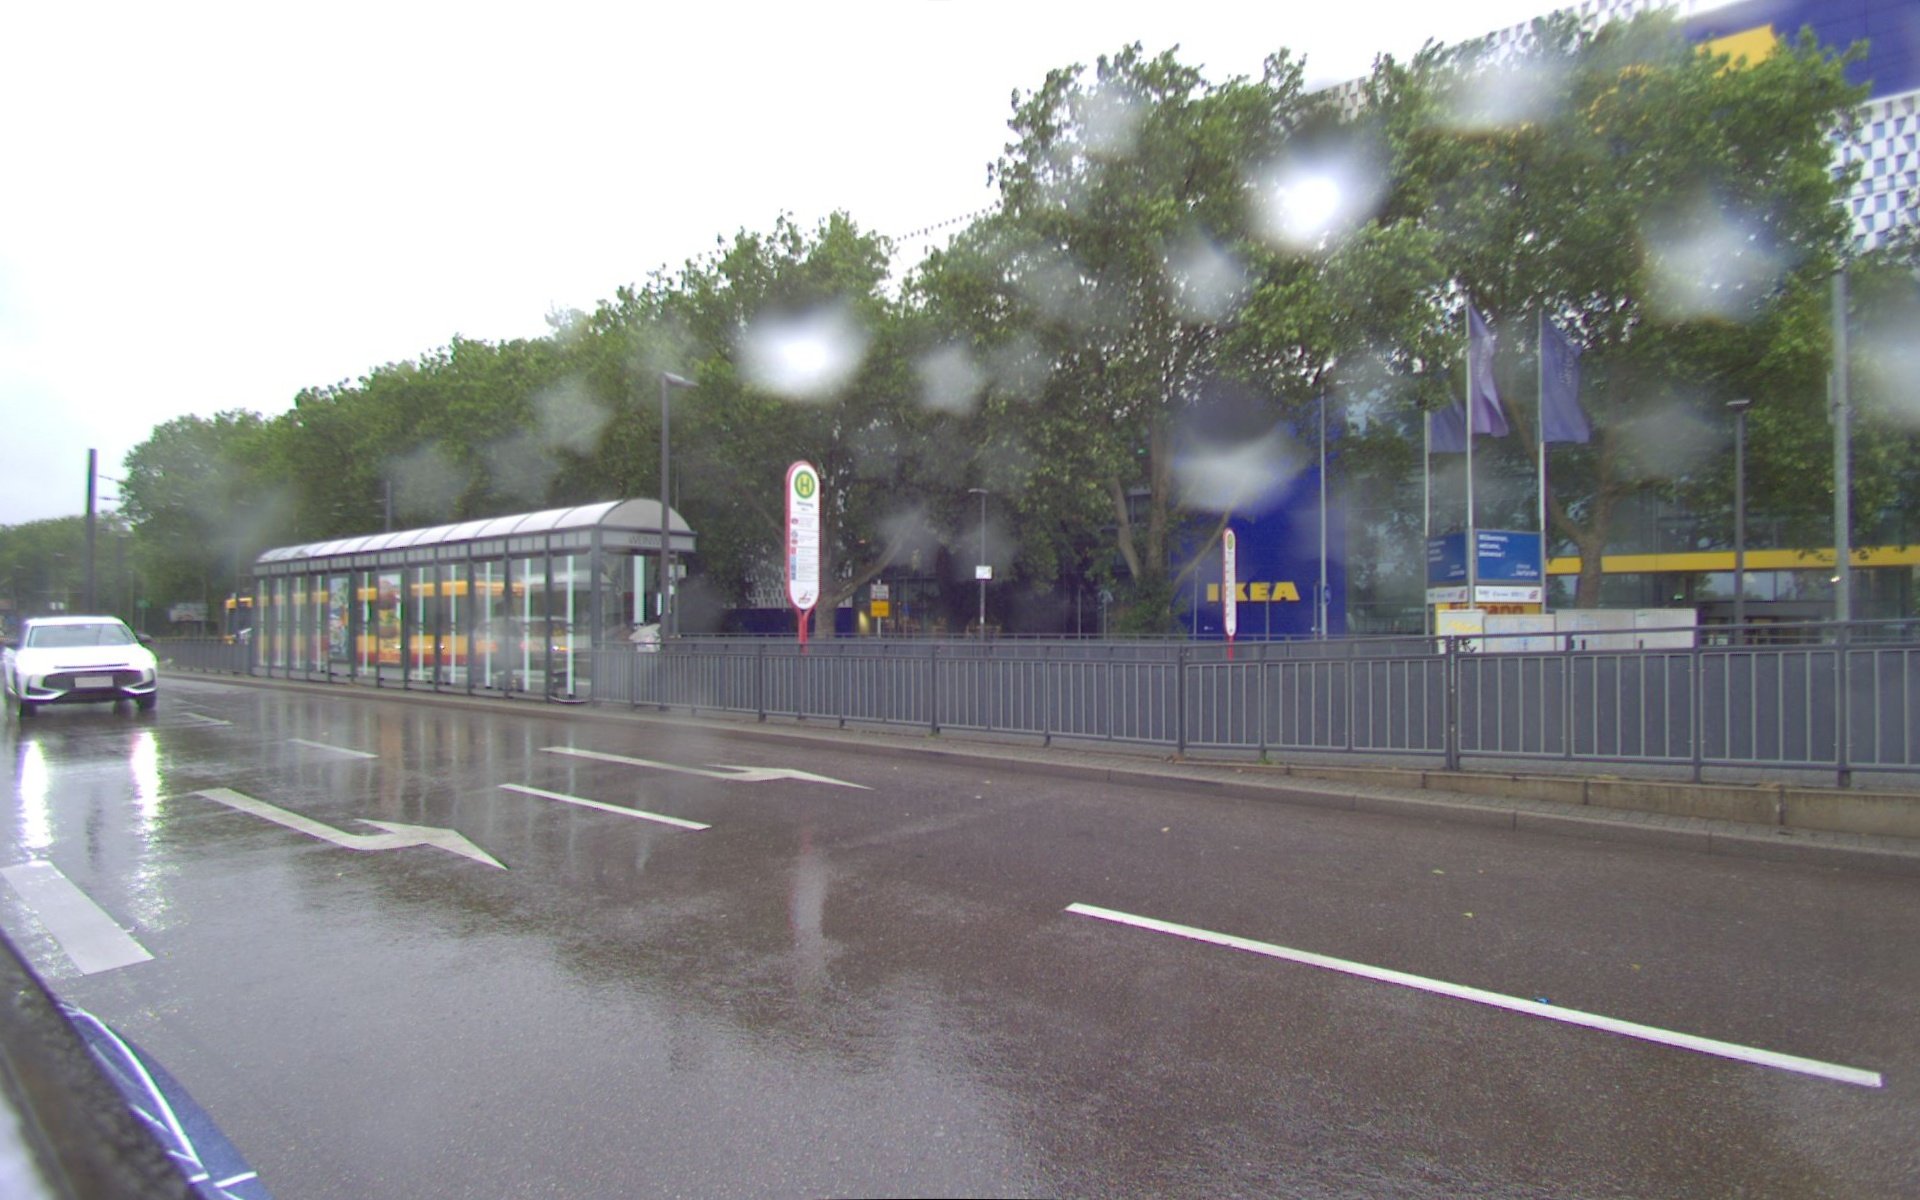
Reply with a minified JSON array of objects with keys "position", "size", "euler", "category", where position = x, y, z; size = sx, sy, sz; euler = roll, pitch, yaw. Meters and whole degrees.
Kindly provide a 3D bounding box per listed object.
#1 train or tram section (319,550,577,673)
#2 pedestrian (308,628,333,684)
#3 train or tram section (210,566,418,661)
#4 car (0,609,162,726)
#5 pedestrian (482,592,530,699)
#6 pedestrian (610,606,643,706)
[{"position":[-19.359,0.421,37.534],"size":[13.245,3.868,3.703],"euler":[-1,0,40],"category":"train or tram section"},{"position":[-14.634,1.282,23.161],"size":[0.451,1.245,0.468],"euler":[0,0,-35],"category":"pedestrian"},{"position":[-30.338,0.628,46.923],"size":[15.560,3.827,3.703],"euler":[-1,0,40],"category":"train or tram section"},{"position":[-15.956,1.097,18.108],"size":[4.663,1.788,1.909],"euler":[-1,0,43],"category":"car"},{"position":[-8.264,0.799,18.409],"size":[0.646,1.885,0.774],"euler":[-1,0,-33],"category":"pedestrian"},{"position":[-5.151,0.847,15.625],"size":[0.317,1.504,0.416],"euler":[-2,1,-44],"category":"pedestrian"}]
